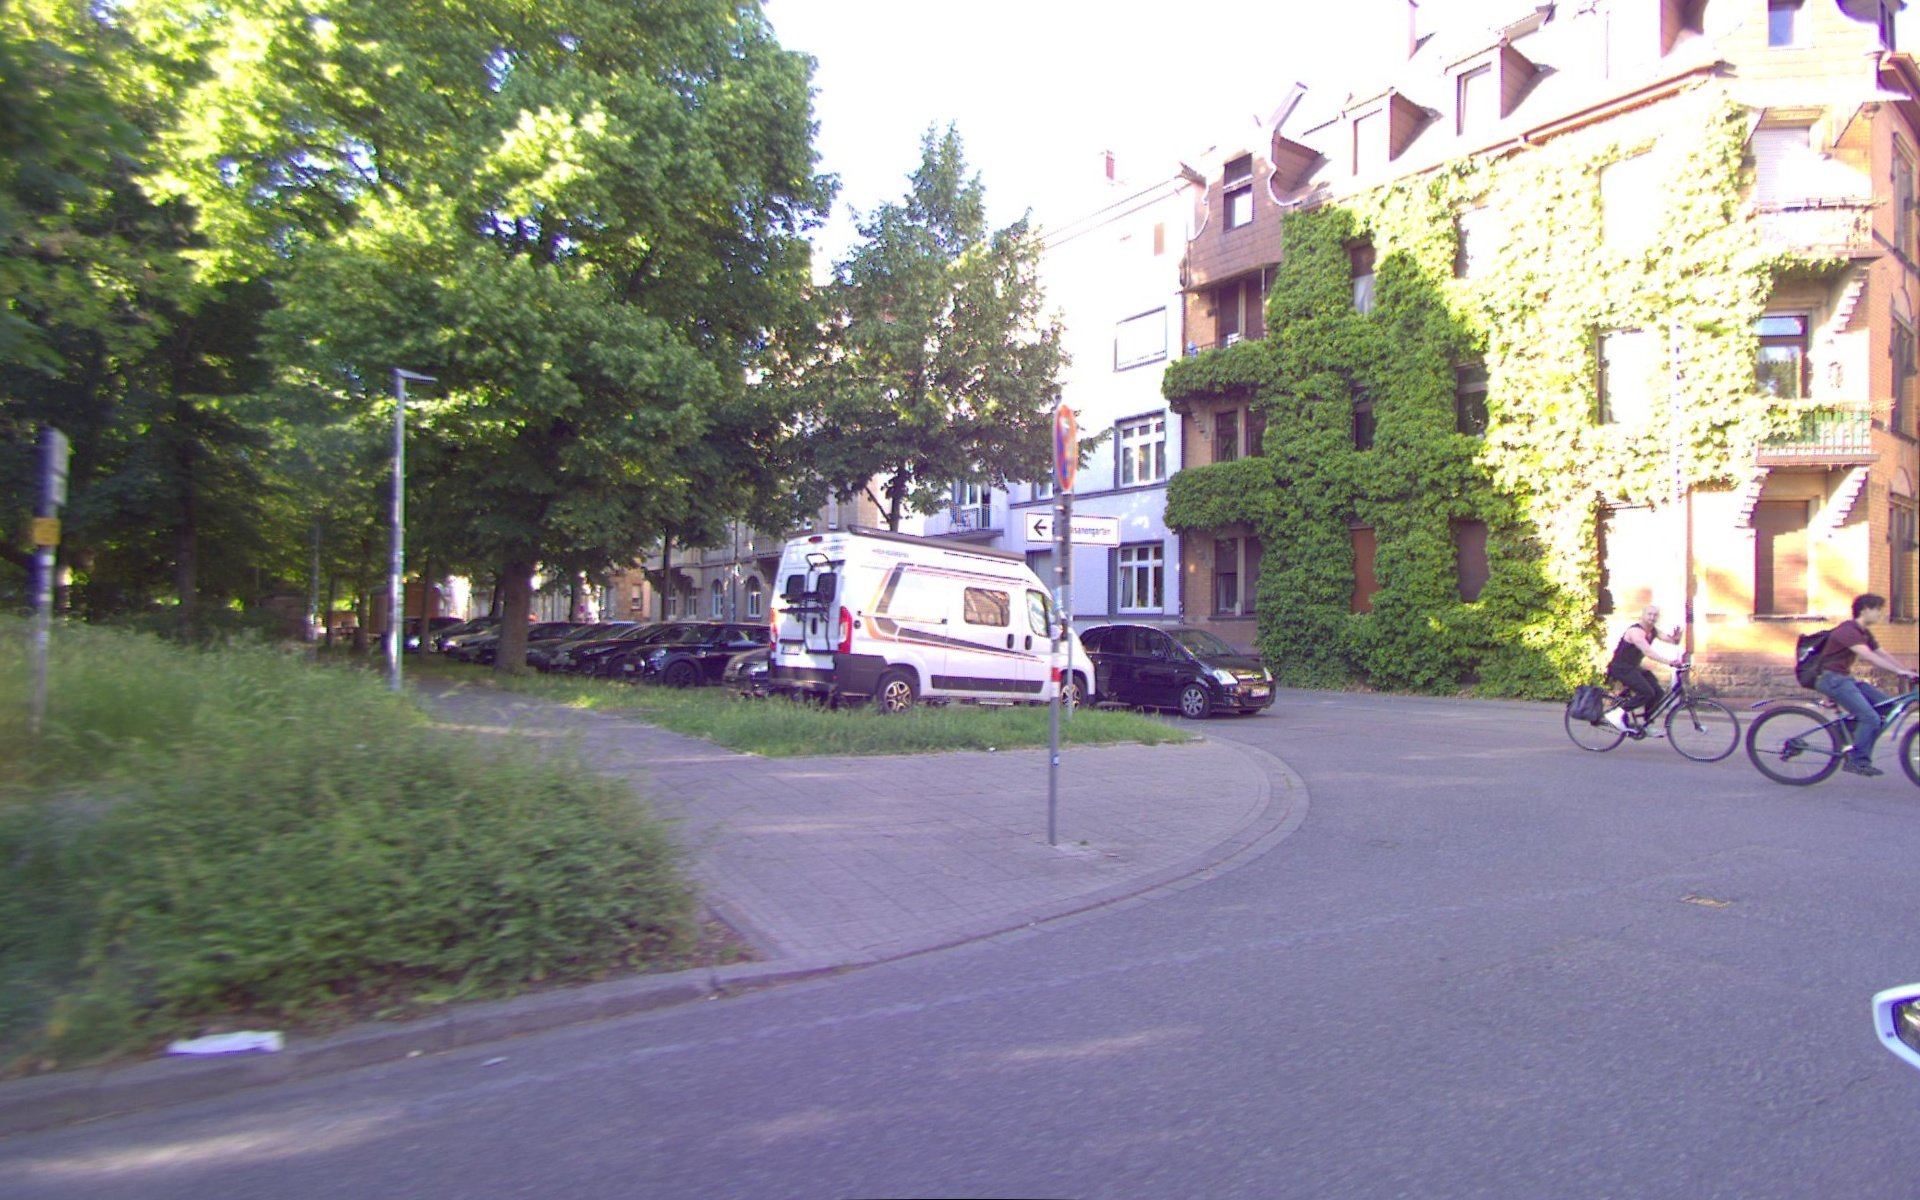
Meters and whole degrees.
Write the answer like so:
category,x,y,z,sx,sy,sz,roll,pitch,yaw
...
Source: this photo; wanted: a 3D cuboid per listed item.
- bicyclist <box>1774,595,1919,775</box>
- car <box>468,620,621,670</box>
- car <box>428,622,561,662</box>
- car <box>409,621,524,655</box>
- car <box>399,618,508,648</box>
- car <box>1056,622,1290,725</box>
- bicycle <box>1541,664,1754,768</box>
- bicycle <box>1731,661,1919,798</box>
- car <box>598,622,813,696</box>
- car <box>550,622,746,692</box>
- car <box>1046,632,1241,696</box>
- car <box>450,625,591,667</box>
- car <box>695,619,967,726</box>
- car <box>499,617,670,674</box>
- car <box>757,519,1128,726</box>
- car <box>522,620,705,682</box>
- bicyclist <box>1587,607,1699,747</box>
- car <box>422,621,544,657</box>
category,x,y,z,sx,sy,sz,roll,pitch,yaw
bicyclist,8.184,0.743,9.234,0.715,1.547,0.961,2,-1,-39
car,-12.469,1.338,30.235,3.849,1.395,1.956,2,-1,-40
car,-16.019,1.446,34.635,3.849,1.273,1.765,2,-1,-40
car,-19.790,1.529,40.357,3.849,1.273,1.765,2,-1,-40
car,-21.415,1.398,42.531,3.849,1.170,1.765,2,-1,-40
car,3.685,1.233,17.953,1.635,1.611,3.975,0,-2,-39
bicycle,7.999,1.308,11.762,0.693,1.087,1.944,2,-4,-43
bicycle,8.236,1.153,9.078,0.552,1.087,1.947,-1,1,-38
car,-5.223,1.184,20.804,3.849,1.360,1.956,2,-1,-40
car,-7.094,1.259,22.992,3.849,1.461,1.956,2,-2,-40
car,4.526,1.557,25.531,1.866,1.423,4.872,0,-1,-38
car,-14.237,1.474,32.631,3.849,1.273,1.765,2,-1,-40
car,-2.139,1.175,17.302,4.264,1.596,1.956,2,-1,-40
car,-9.976,1.200,26.805,3.849,1.395,1.956,2,-1,-40
car,-0.097,0.370,15.536,5.585,2.649,2.213,2,-1,-40
car,-8.528,1.234,24.833,3.849,1.395,1.956,2,-1,-40
bicyclist,7.970,0.864,11.725,0.704,1.547,0.959,2,-1,-44
car,-18.033,1.463,38.023,3.849,1.273,1.765,2,-1,-40
